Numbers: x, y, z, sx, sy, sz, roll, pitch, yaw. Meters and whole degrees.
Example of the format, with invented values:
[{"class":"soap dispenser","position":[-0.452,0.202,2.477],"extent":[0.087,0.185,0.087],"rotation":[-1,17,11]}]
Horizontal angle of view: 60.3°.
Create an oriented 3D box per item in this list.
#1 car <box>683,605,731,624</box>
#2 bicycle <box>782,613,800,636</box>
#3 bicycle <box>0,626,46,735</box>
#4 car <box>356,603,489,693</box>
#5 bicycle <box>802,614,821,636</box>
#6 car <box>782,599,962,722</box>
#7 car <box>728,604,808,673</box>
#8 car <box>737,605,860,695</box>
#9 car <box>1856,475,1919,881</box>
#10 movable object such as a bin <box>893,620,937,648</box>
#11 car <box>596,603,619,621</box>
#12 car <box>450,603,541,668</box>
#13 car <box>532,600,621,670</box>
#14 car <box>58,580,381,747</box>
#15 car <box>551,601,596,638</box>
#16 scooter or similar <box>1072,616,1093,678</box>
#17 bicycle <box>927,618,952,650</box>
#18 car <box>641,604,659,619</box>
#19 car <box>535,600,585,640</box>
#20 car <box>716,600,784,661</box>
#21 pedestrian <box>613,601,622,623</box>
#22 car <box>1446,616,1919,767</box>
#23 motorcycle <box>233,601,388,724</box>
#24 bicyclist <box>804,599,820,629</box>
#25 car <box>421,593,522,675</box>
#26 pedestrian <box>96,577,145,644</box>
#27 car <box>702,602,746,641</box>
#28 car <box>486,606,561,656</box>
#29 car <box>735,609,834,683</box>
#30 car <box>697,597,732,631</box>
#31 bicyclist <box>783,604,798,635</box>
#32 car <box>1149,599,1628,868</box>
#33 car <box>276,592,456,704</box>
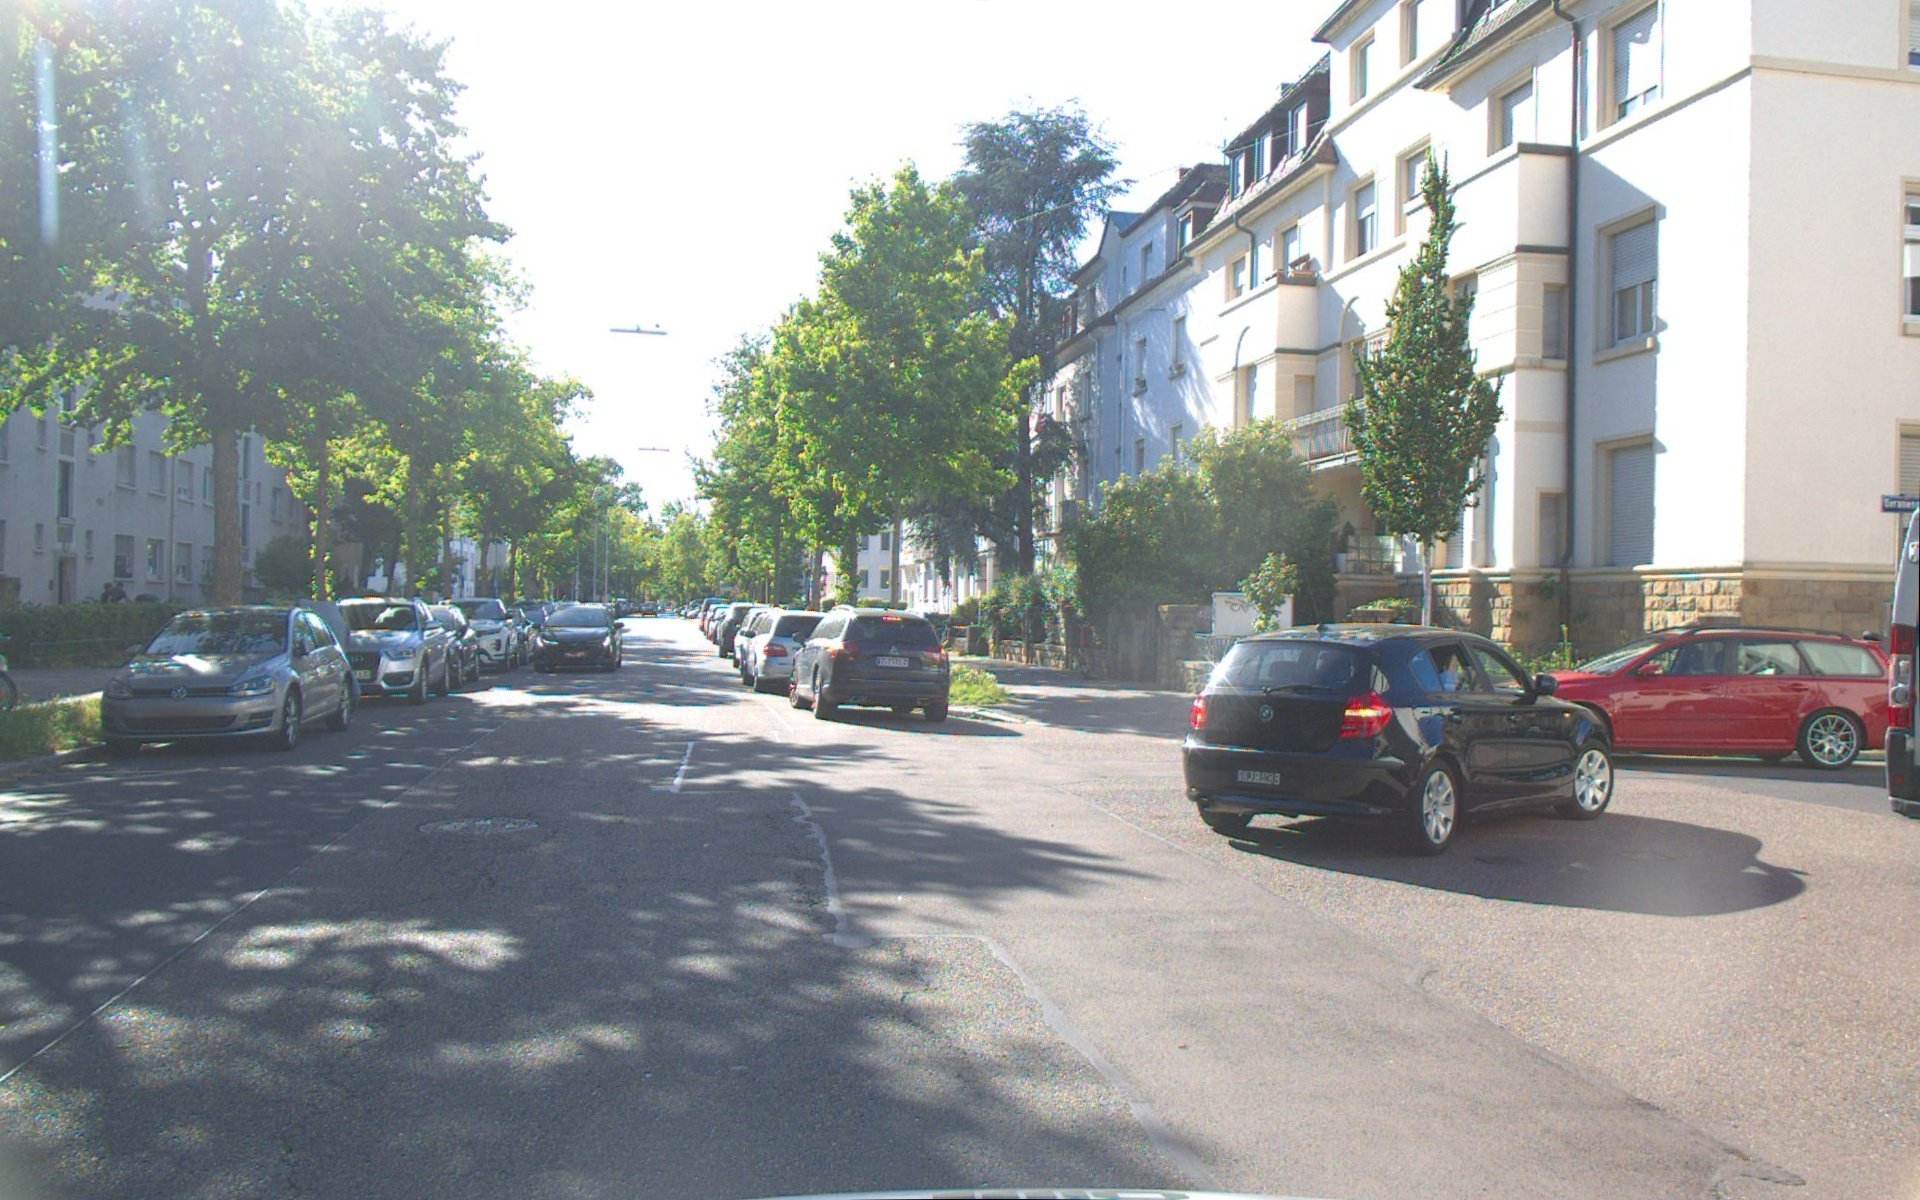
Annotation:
[{"class":"car","position":[-21.652,1.249,141.374],"extent":[3.919,1.615,1.720],"rotation":[1,0,-14]},{"class":"bicycle","position":[-9.016,1.284,88.113],"extent":[0.672,1.173,2.395],"rotation":[1,0,-13]},{"class":"bicycle","position":[-9.805,0.804,16.226],"extent":[0.520,1.032,2.088],"rotation":[8,-1,-4]},{"class":"car","position":[-9.874,0.816,30.688],"extent":[1.697,1.472,4.808],"rotation":[-1,0,-11]},{"class":"bicycle","position":[-7.898,1.332,87.992],"extent":[0.672,1.173,2.395],"rotation":[1,0,-13]},{"class":"car","position":[-1.383,0.823,23.697],"extent":[1.862,1.551,4.953],"rotation":[2,-1,-11]},{"class":"car","position":[-4.902,0.932,41.841],"extent":[1.625,1.559,3.958],"rotation":[3,-1,-11]},{"class":"car","position":[-3.140,0.883,31.296],"extent":[1.789,1.495,4.896],"rotation":[3,-1,-11]},{"class":"car","position":[8.011,0.481,10.330],"extent":[4.995,2.346,2.209],"rotation":[1,0,-34]},{"class":"movable object such as a bin","position":[-1.534,1.156,57.091],"extent":[1.195,0.920,1.665],"rotation":[1,0,10]},{"class":"car","position":[-33.493,1.122,157.235],"extent":[1.957,1.613,3.991],"rotation":[1,0,-10]},{"class":"car","position":[-11.850,0.870,42.401],"extent":[1.697,1.503,4.608],"rotation":[-3,0,-10]},{"class":"car","position":[-8.595,0.751,37.330],"extent":[1.776,1.471,4.354],"rotation":[-1,0,-11]},{"class":"car","position":[-7.762,0.613,17.872],"extent":[2.005,1.551,4.596],"rotation":[1,0,-9]},{"class":"car","position":[-17.460,0.863,74.781],"extent":[1.679,1.571,3.921],"rotation":[-1,0,-9]},{"class":"scooter or similar","position":[2.473,0.948,33.463],"extent":[0.393,1.205,1.206],"rotation":[1,0,5]},{"class":"bicycle","position":[-0.679,1.088,53.691],"extent":[0.570,0.992,1.900],"rotation":[0,0,-8]},{"class":"car","position":[-34.453,1.325,183.937],"extent":[1.753,1.637,3.985],"rotation":[1,0,-14]},{"class":"car","position":[-16.582,0.824,68.751],"extent":[1.778,1.624,4.222],"rotation":[0,0,-10]},{"class":"car","position":[-6.550,0.902,51.257],"extent":[1.890,1.680,5.085],"rotation":[3,0,-8]},{"class":"pedestrian","position":[-29.986,1.034,144.864],"extent":[0.704,1.933,0.832],"rotation":[1,0,-20]},{"class":"car","position":[7.925,0.965,18.240],"extent":[4.619,1.495,1.954],"rotation":[1,-1,4]},{"class":"motorcycle","position":[-8.517,0.776,21.644],"extent":[2.192,1.530,0.984],"rotation":[0,0,40]},{"class":"bicyclist","position":[-7.870,0.731,87.928],"extent":[0.664,1.580,1.018],"rotation":[1,-1,-13]},{"class":"car","position":[-10.908,0.731,37.157],"extent":[1.697,1.646,4.354],"rotation":[-3,0,-11]},{"class":"pedestrian","position":[-24.555,0.312,48.391],"extent":[0.915,1.921,1.024],"rotation":[1,-1,-6]},{"class":"car","position":[-11.496,1.019,80.494],"extent":[1.872,1.728,4.303],"rotation":[4,-1,-10]},{"class":"car","position":[-12.967,0.898,49.285],"extent":[1.747,1.403,4.252],"rotation":[-1,0,-10]},{"class":"car","position":[-3.915,0.950,36.214],"extent":[1.680,1.435,4.848],"rotation":[3,-1,-11]},{"class":"car","position":[-14.965,0.853,100.611],"extent":[1.935,1.983,4.972],"rotation":[1,0,-11]},{"class":"bicyclist","position":[-9.012,1.010,88.115],"extent":[0.665,1.638,0.918],"rotation":[1,-1,-13]},{"class":"car","position":[3.157,0.774,11.656],"extent":[1.755,1.550,3.979],"rotation":[0,0,40]},{"class":"car","position":[-9.045,0.682,25.582],"extent":[2.028,1.551,4.706],"rotation":[1,0,-13]}]
